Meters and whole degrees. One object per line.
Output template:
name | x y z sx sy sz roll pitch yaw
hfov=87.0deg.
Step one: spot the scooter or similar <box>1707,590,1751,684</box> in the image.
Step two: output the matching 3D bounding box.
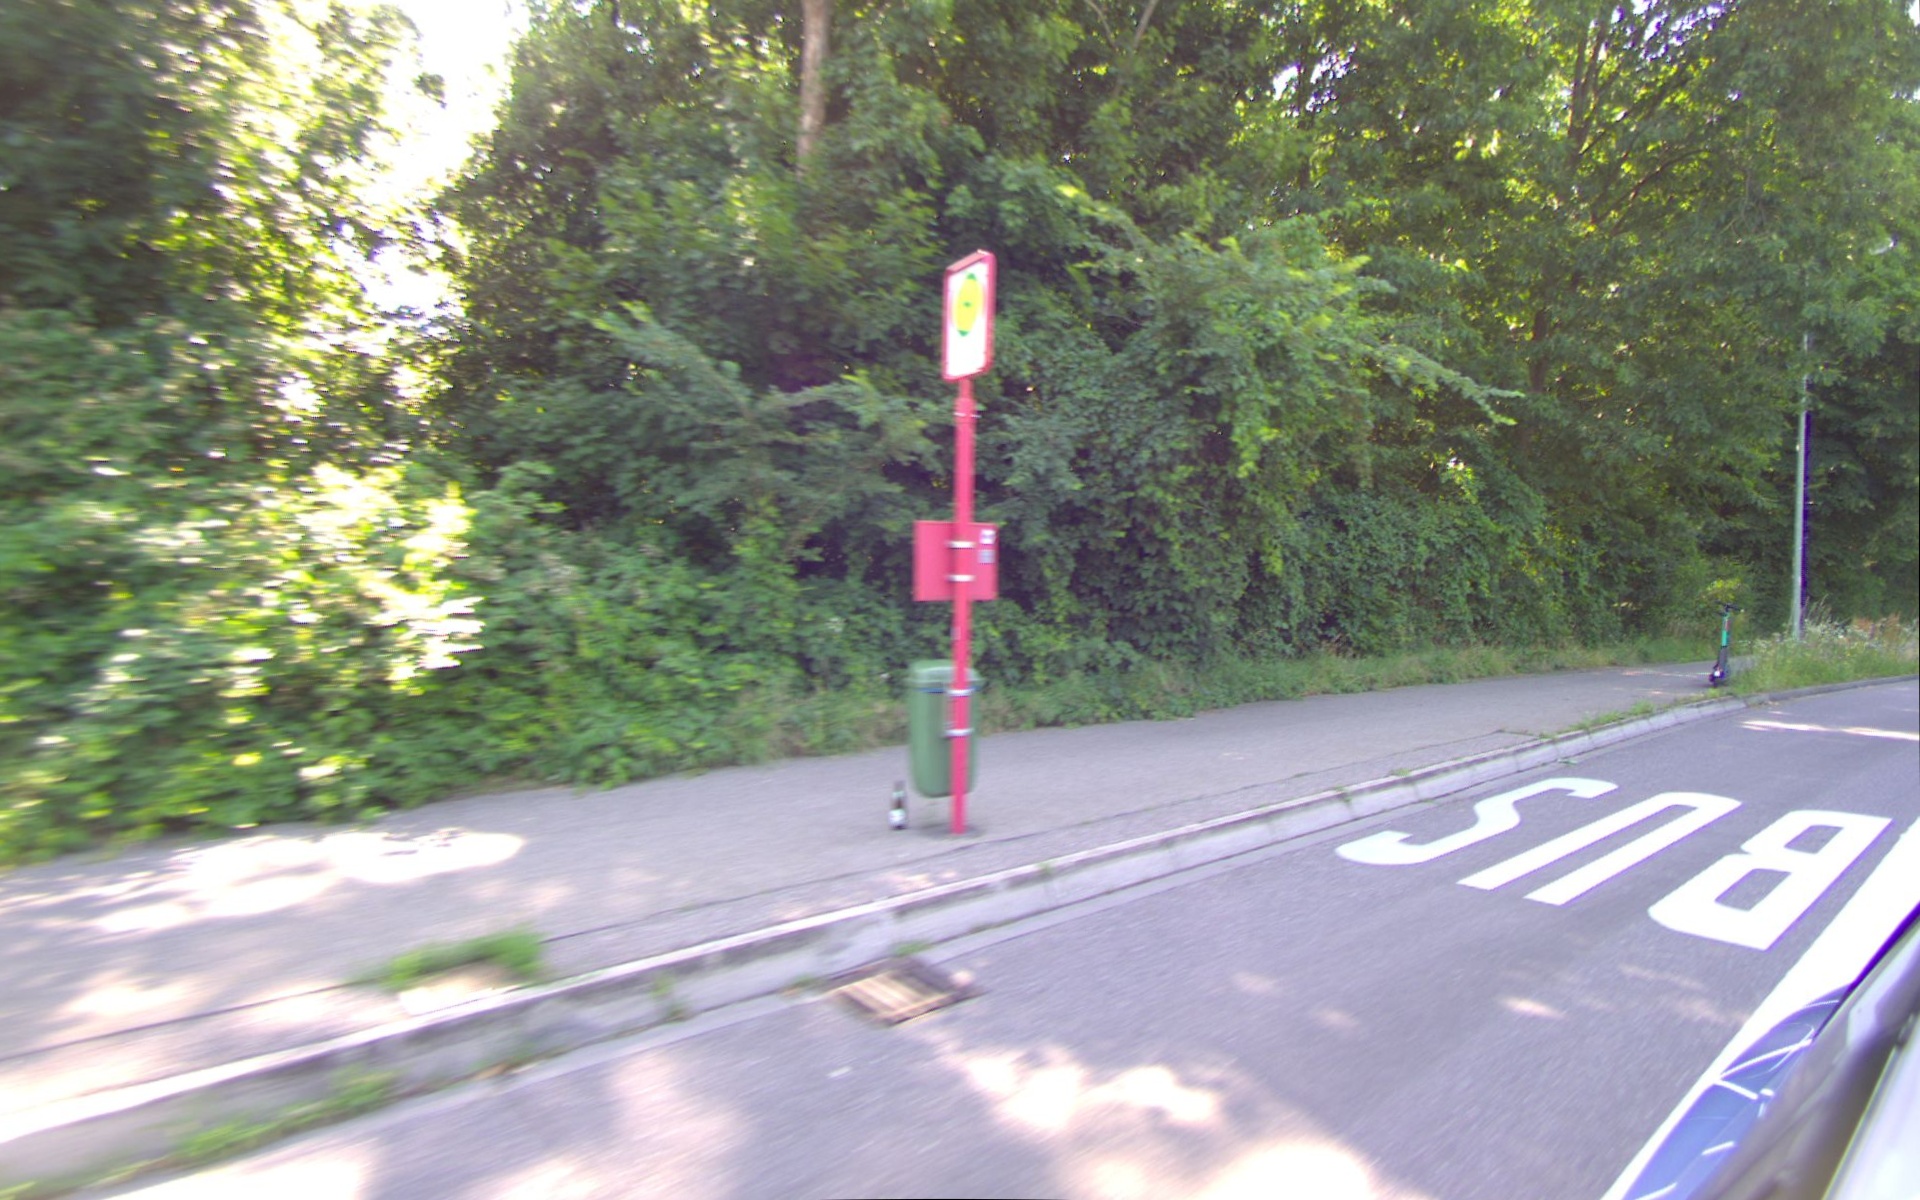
scooter or similar | 11.492 0.524 15.140 0.398 1.323 1.314 3 2 34
